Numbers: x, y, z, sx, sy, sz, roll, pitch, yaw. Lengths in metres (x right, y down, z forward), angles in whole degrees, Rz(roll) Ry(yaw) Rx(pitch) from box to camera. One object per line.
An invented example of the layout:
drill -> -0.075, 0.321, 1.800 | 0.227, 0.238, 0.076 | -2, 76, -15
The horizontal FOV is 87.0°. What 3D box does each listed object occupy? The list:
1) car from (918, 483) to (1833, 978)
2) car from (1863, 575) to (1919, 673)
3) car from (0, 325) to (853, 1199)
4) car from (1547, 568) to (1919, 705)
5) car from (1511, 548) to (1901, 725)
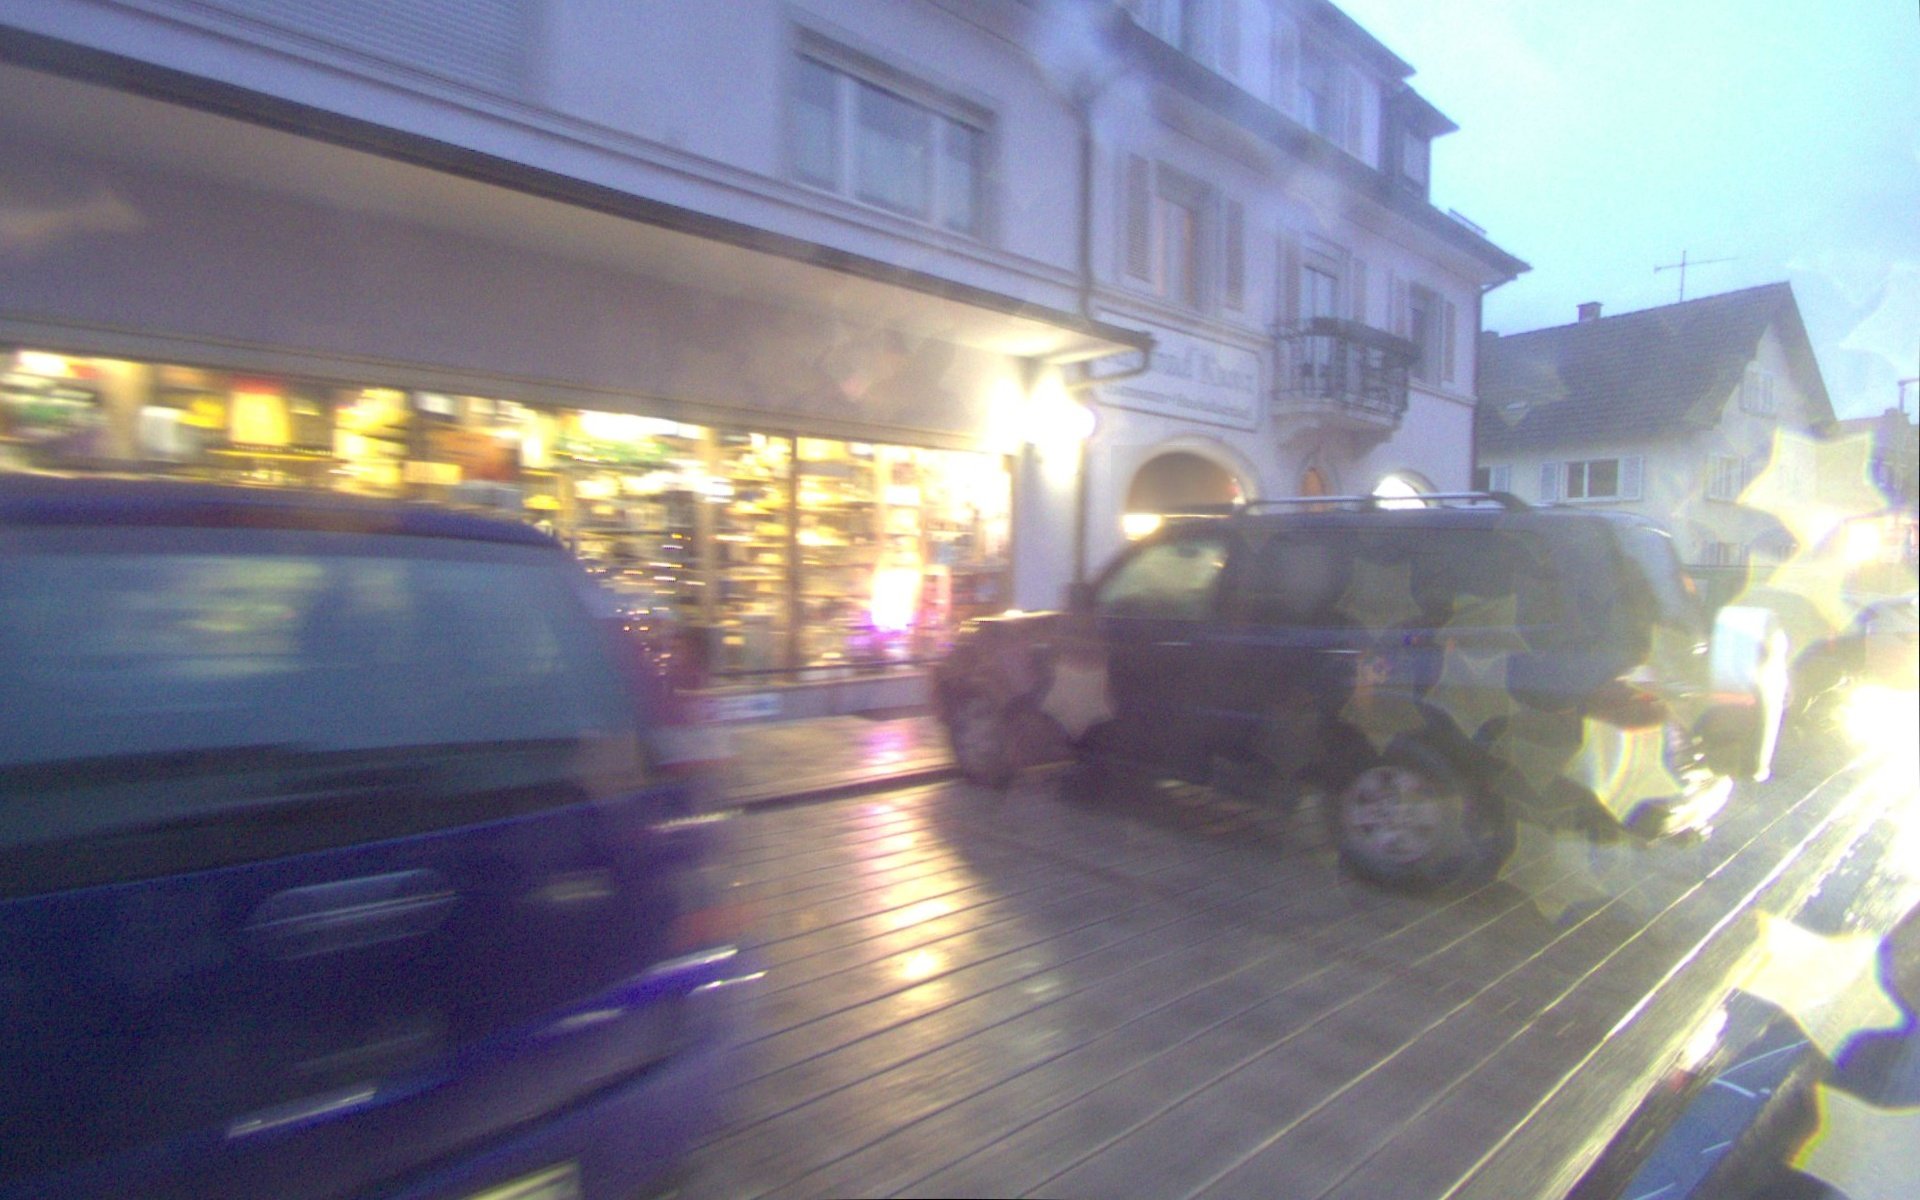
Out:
car -> 2.011, 0.366, 5.996 | 1.913, 1.797, 4.608 | 0, 3, -44
car -> 17.642, 0.418, 17.731 | 4.586, 1.566, 1.888 | 0, 3, -38
car -> -2.163, 0.413, 2.741 | 3.872, 1.599, 1.655 | 3, 3, 45
car -> 10.966, 0.397, 14.044 | 1.865, 1.491, 4.476 | 0, 3, -41
car -> 8.873, 0.310, 12.209 | 1.688, 1.701, 3.507 | 0, 4, -45
